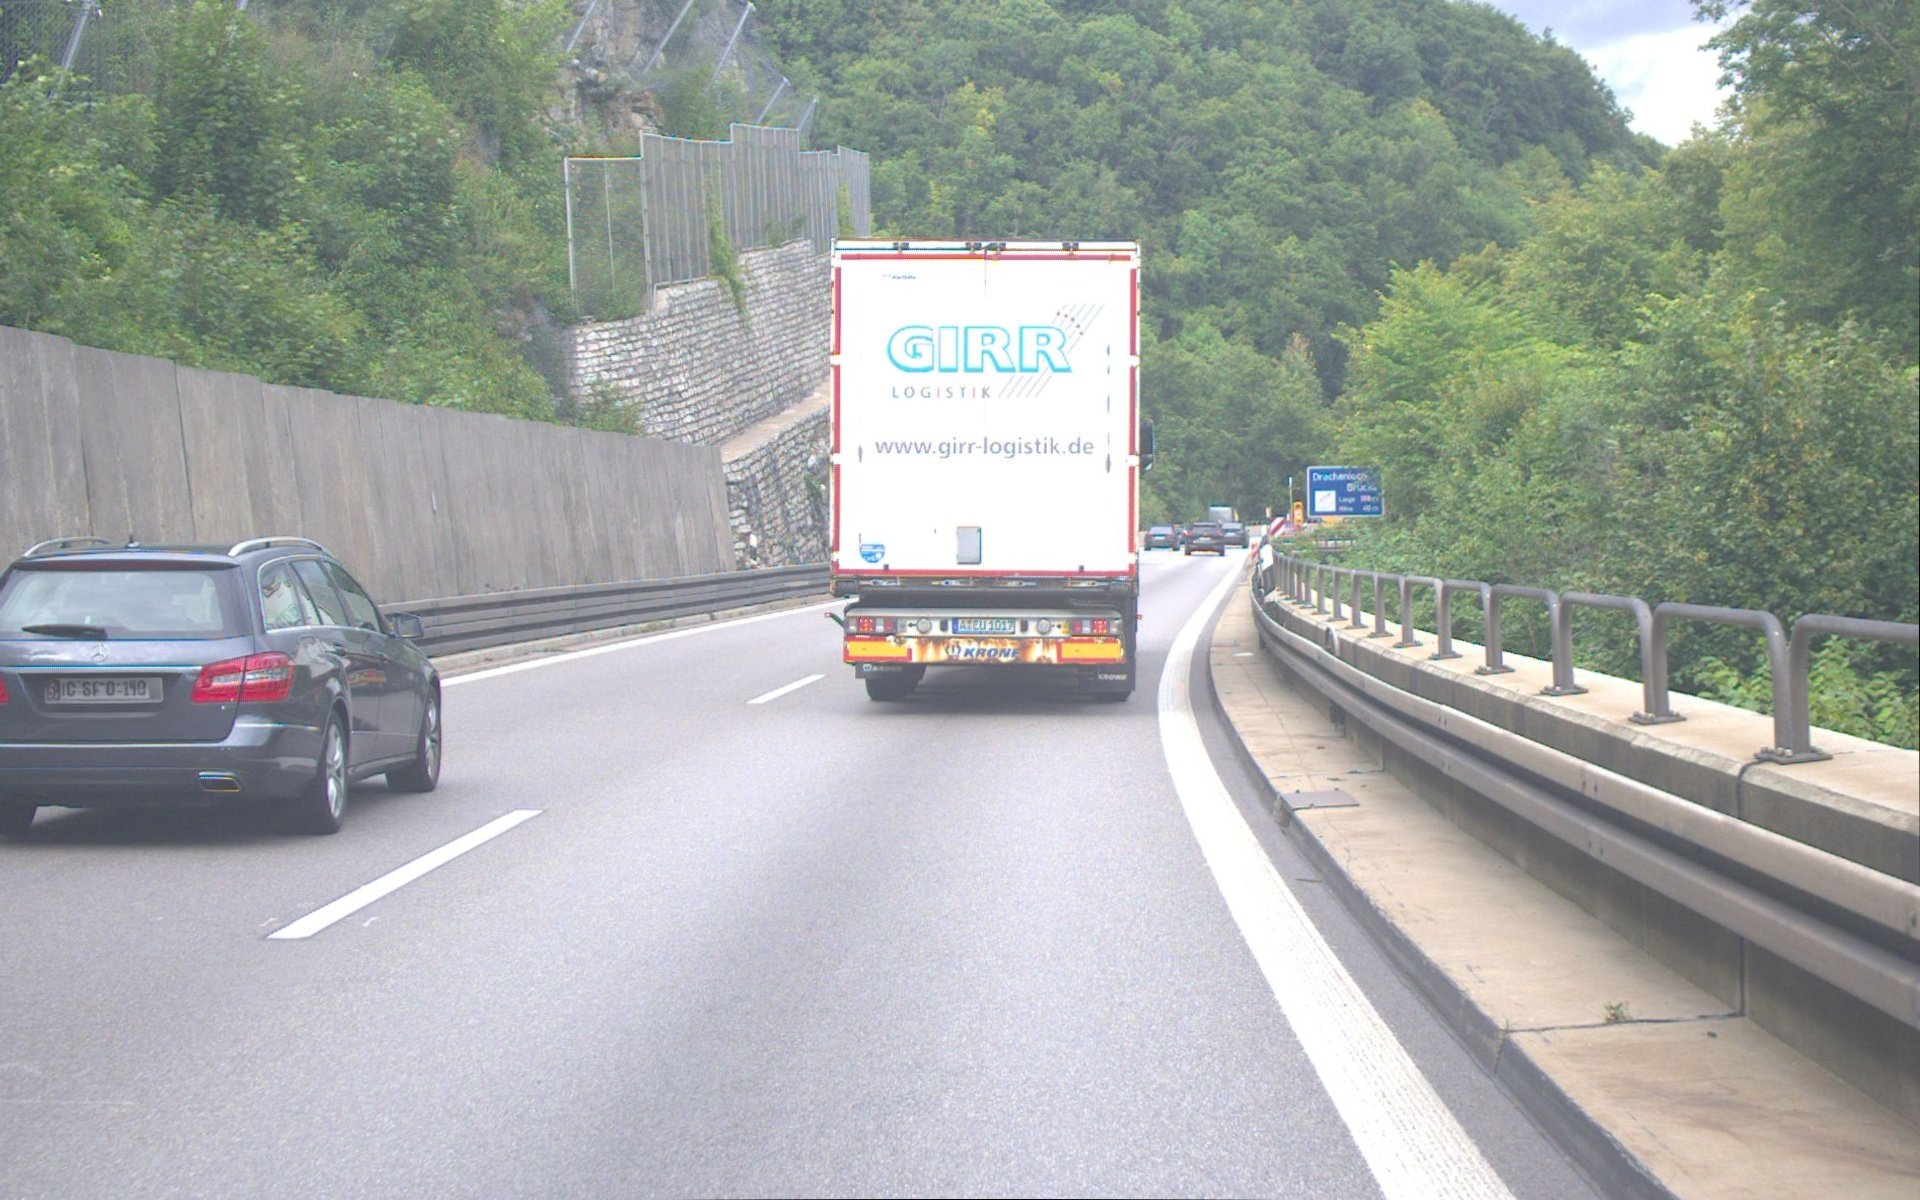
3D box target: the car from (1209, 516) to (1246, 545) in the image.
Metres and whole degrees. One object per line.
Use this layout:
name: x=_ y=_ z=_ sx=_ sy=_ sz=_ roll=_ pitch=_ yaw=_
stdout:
car: x=16.824 y=-4.373 z=216.226 sx=1.994 sy=1.758 sz=3.999 roll=0 pitch=1 yaw=9

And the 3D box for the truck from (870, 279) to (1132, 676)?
truck: x=0.552 y=-1.370 z=40.297 sx=2.813 sy=4.287 sz=6.259 roll=0 pitch=1 yaw=2

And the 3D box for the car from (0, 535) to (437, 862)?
car: x=-4.031 y=0.420 z=18.067 sx=1.883 sy=1.504 sz=4.419 roll=0 pitch=1 yaw=0

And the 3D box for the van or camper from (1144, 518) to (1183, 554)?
van or camper: x=11.508 y=-3.606 z=194.235 sx=1.994 sy=2.007 sz=3.999 roll=1 pitch=1 yaw=6

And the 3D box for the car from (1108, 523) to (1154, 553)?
car: x=6.486 y=-2.357 z=130.483 sx=1.514 sy=1.109 sz=3.680 roll=0 pitch=1 yaw=-1

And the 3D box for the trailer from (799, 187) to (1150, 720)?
trailer: x=0.329 y=-1.275 z=33.829 sx=2.813 sy=4.287 sz=12.244 roll=0 pitch=1 yaw=2

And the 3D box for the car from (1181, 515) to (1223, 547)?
car: x=12.021 y=-3.403 z=170.646 sx=1.994 sy=1.567 sz=3.999 roll=0 pitch=1 yaw=6
